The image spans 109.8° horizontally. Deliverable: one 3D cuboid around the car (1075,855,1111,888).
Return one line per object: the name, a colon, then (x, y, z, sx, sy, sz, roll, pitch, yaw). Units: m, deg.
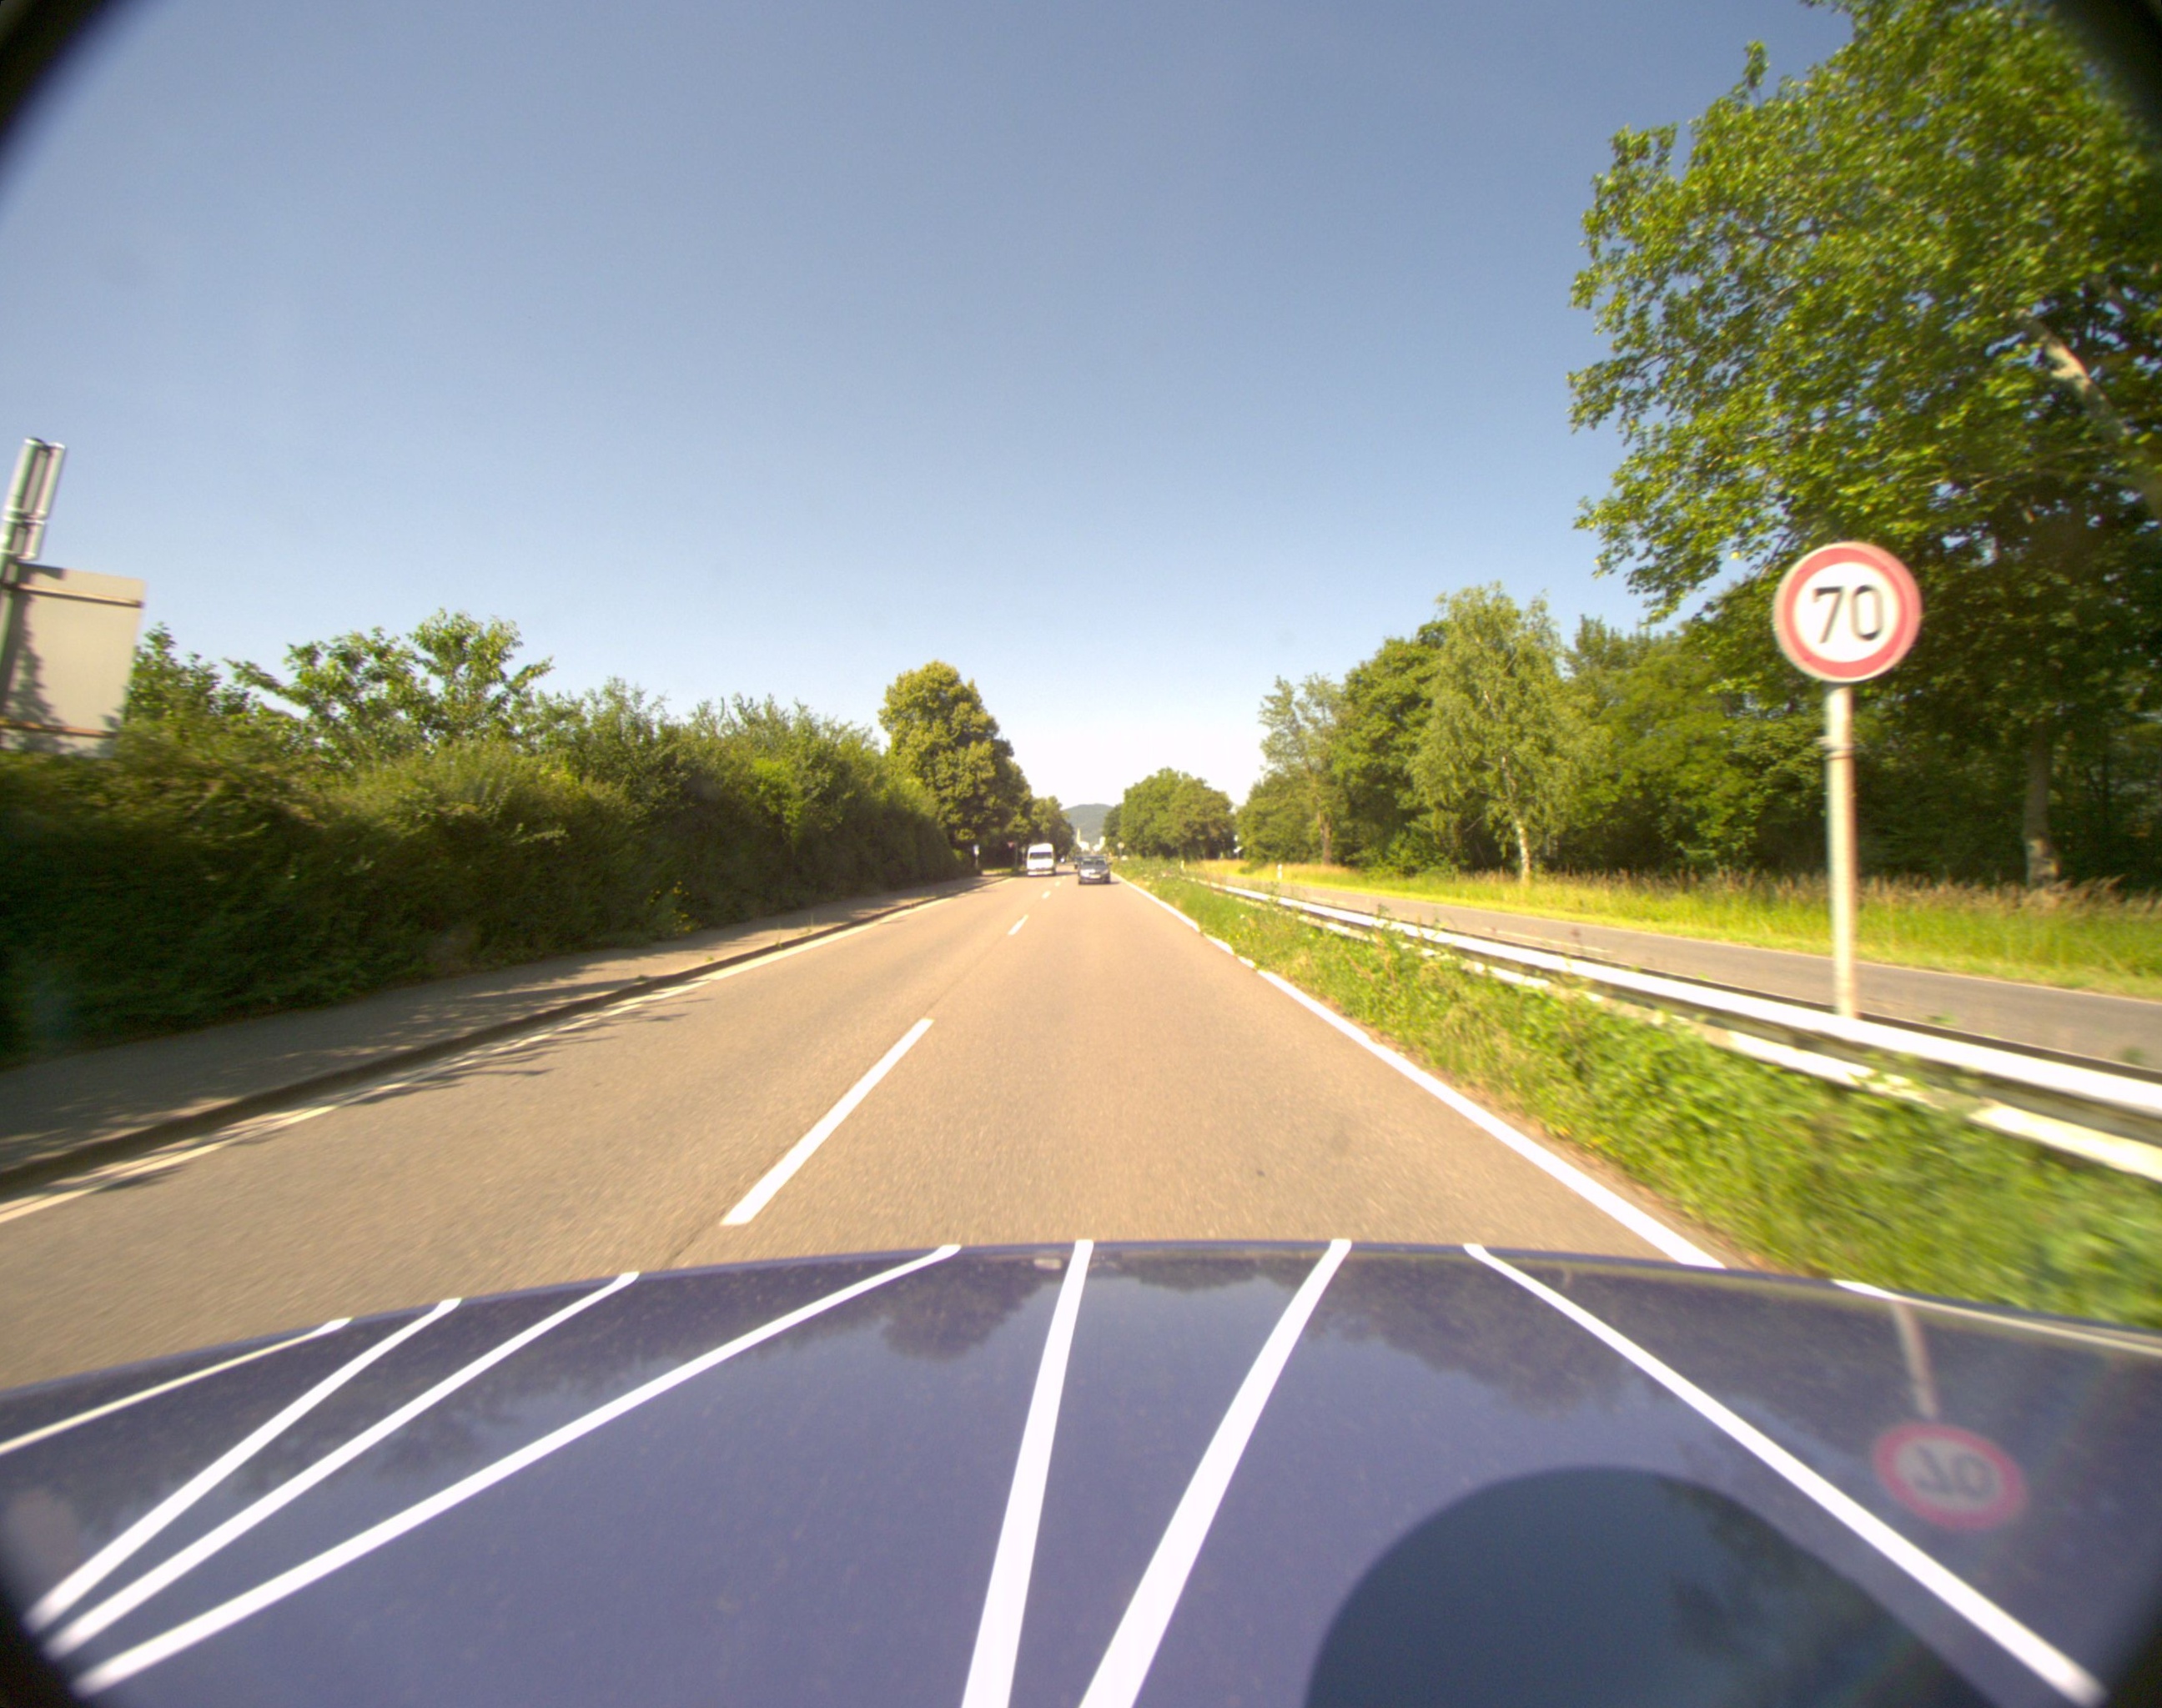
car: (0.584, 0.794, 37.503, 1.678, 1.435, 4.361, -1, 1, 1)

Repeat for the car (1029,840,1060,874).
car: (-2.716, 0.198, 57.550, 1.998, 2.433, 5.088, -1, 1, 1)

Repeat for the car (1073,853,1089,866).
car: (0.059, 0.592, 84.454, 1.678, 1.435, 3.621, -1, 1, 1)

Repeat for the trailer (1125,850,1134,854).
trailer: (12.053, -0.489, 190.864, 1.969, 0.955, 5.598, -1, 0, 1)

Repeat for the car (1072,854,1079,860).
car: (-1.417, 0.784, 211.132, 1.825, 1.591, 4.000, 0, 0, 1)

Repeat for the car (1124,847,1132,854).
car: (12.101, -0.853, 196.074, 1.998, 1.690, 4.813, 0, 0, 0)
